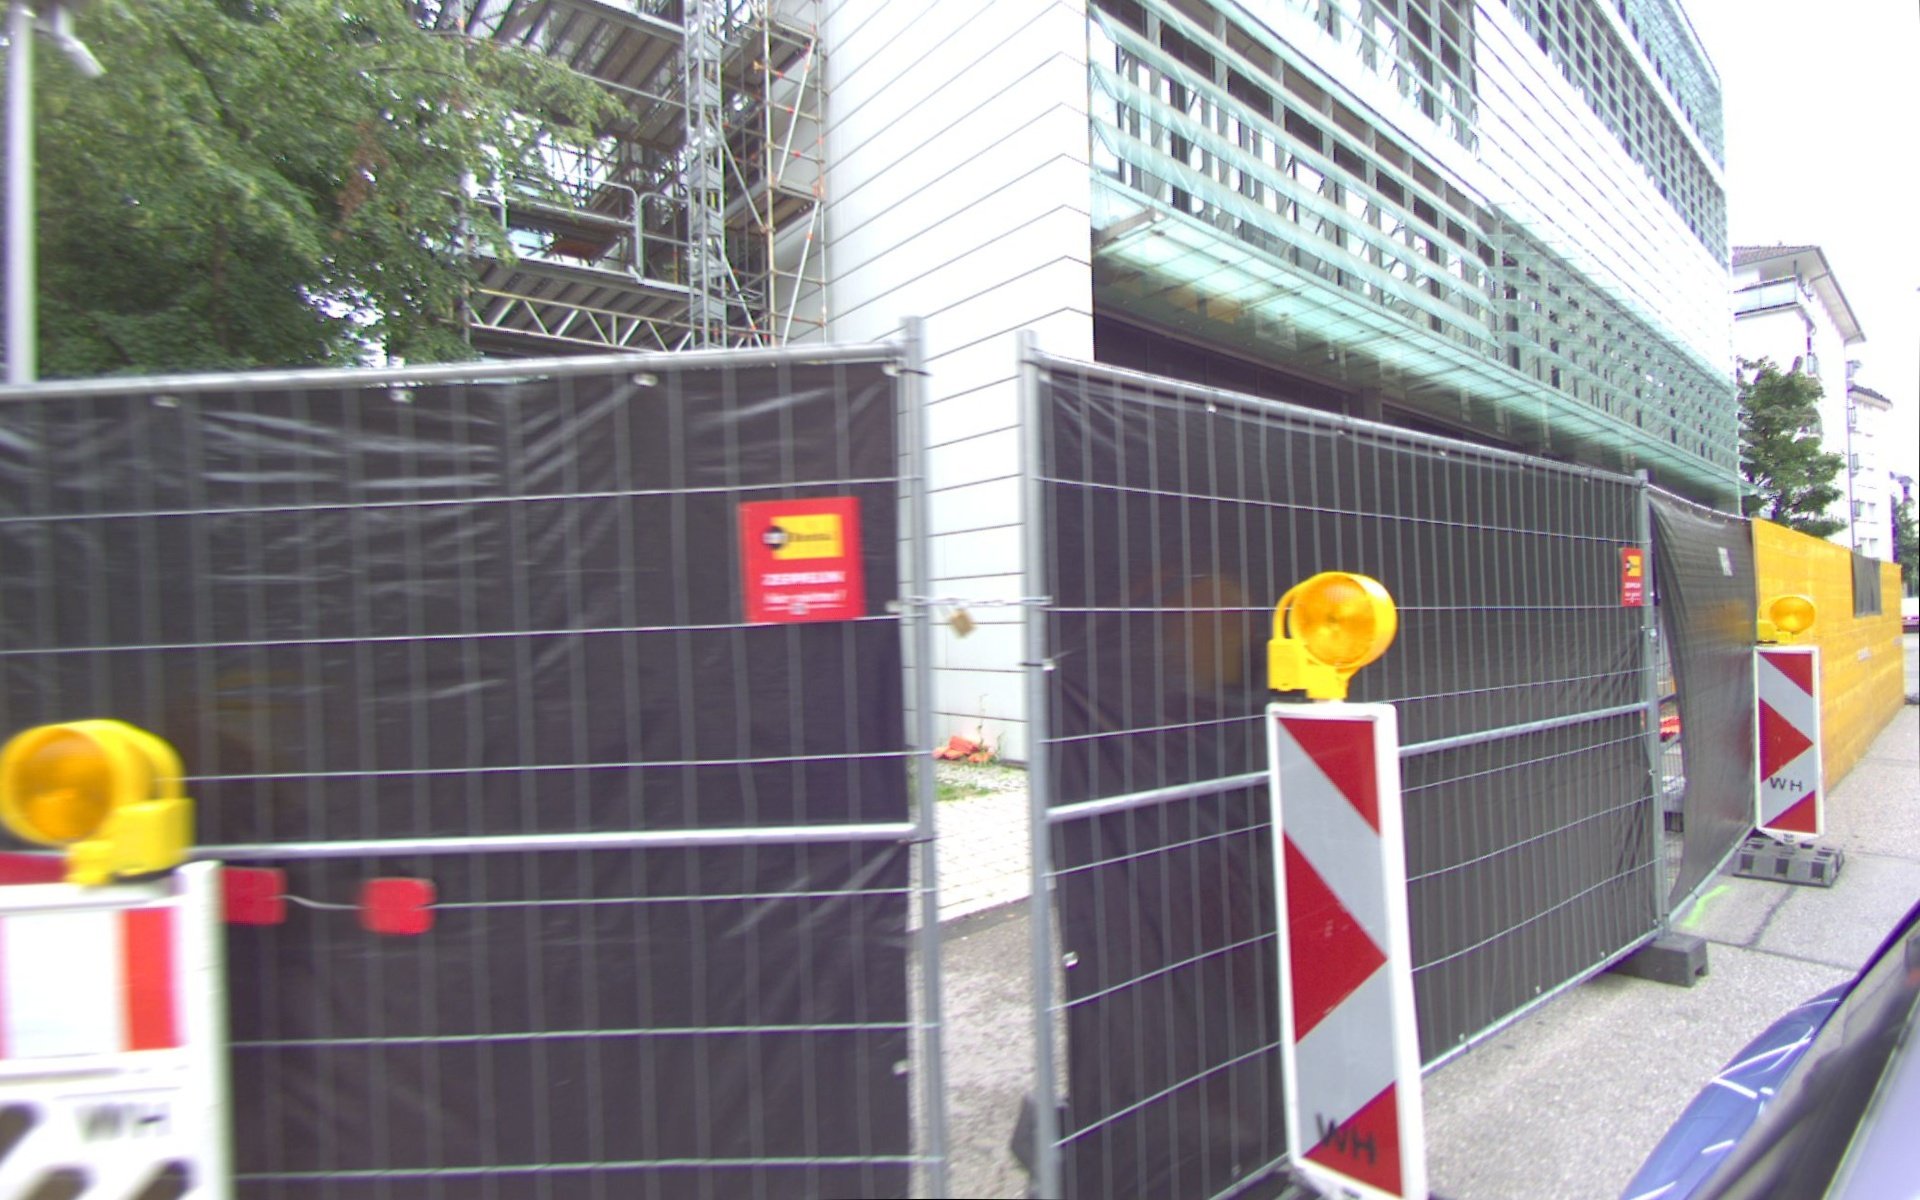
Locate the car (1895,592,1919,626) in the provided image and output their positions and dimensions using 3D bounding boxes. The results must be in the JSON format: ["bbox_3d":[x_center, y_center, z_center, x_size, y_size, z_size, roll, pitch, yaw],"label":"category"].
[{"bbox_3d":[42.630,0.367,44.615,3.934,1.416,1.805,-1,-1,-44],"label":"car"}]

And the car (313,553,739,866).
[{"bbox_3d":[-3.388,0.671,7.501,1.745,1.701,3.739,0,-3,-43],"label":"car"}]

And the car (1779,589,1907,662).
[{"bbox_3d":[20.591,0.568,23.543,1.992,1.506,4.211,-5,-3,43],"label":"car"}]

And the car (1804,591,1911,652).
[{"bbox_3d":[23.960,0.532,26.974,1.872,1.504,4.210,-3,-1,44],"label":"car"}]
